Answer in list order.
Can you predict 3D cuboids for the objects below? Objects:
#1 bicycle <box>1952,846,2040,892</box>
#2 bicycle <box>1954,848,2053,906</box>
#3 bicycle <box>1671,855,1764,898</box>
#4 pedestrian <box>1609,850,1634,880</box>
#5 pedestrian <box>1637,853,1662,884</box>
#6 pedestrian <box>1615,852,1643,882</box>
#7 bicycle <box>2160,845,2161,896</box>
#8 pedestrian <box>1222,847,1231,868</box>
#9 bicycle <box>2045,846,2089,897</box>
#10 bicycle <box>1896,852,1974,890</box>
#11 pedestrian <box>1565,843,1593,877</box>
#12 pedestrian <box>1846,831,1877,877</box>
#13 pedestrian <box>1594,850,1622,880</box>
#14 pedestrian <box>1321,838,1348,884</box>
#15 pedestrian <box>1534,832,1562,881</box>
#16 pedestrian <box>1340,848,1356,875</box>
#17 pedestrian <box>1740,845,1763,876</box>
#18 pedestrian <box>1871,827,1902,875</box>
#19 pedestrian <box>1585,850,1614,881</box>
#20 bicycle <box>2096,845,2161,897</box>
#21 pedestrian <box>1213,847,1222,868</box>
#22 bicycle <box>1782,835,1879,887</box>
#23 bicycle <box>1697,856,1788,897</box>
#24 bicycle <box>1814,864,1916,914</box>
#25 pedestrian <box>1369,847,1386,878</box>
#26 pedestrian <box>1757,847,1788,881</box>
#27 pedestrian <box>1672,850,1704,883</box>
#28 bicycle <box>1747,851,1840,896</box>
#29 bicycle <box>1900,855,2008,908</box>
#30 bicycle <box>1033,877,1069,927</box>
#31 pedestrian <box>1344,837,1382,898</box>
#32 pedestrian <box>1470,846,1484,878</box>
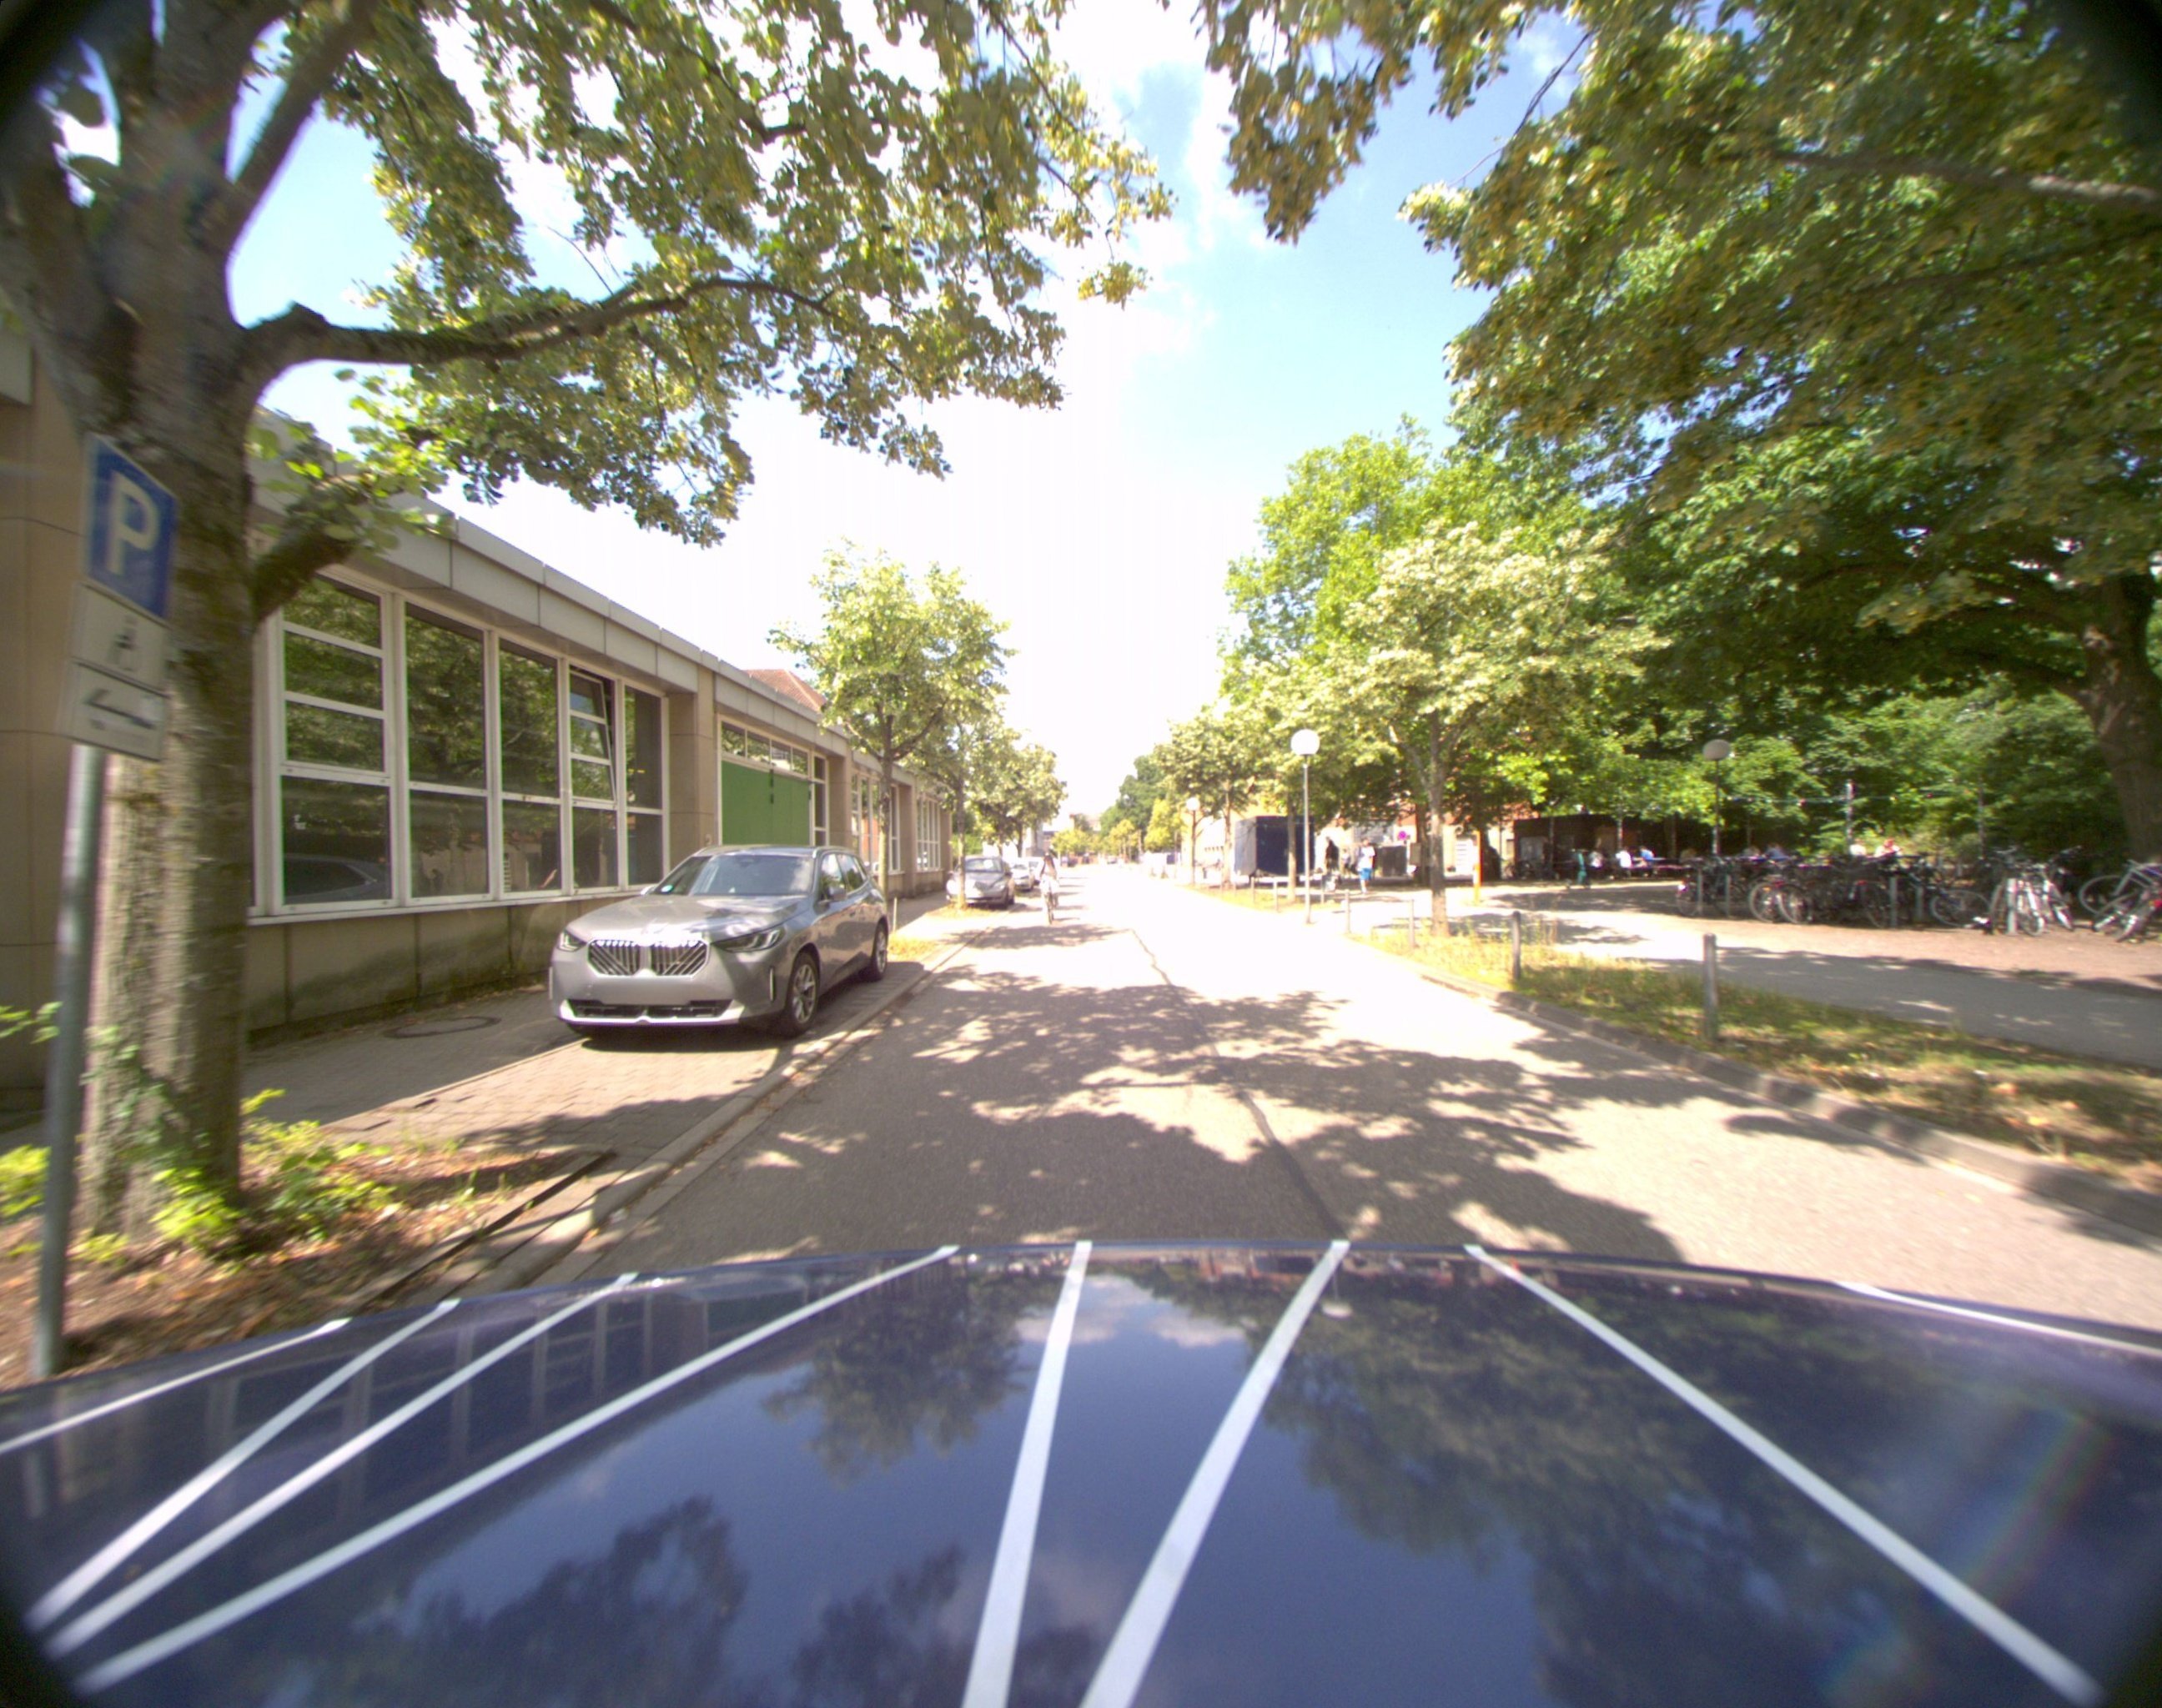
[{"bbox_3d":[23.199,0.355,19.262,1.959,1.085,0.596,-2,2,-13],"label":"bicycle"},{"bbox_3d":[18.446,0.443,15.188,1.969,1.083,0.537,-2,0,-17],"label":"bicycle"},{"bbox_3d":[15.955,0.551,19.073,1.807,1.008,0.537,-2,0,3],"label":"bicycle"},{"bbox_3d":[23.294,0.484,32.750,0.561,1.264,0.693,-2,0,1],"label":"pedestrian"},{"bbox_3d":[24.479,0.607,32.717,0.646,1.315,0.559,-1,0,2],"label":"pedestrian"},{"bbox_3d":[24.317,0.573,33.719,0.689,1.315,0.778,-1,0,2],"label":"pedestrian"},{"bbox_3d":[24.327,0.331,16.498,1.960,1.085,0.596,-2,2,-22],"label":"bicycle"},{"bbox_3d":[12.403,0.316,64.903,0.577,1.769,0.917,-1,1,0],"label":"pedestrian"},{"bbox_3d":[23.140,0.388,17.843,1.962,1.085,0.595,-2,2,-38],"label":"bicycle"},{"bbox_3d":[22.915,0.445,20.397,1.885,0.937,0.546,-2,2,-13],"label":"bicycle"},{"bbox_3d":[20.840,0.253,31.813,0.596,1.361,0.741,-2,-1,-34],"label":"pedestrian"},{"bbox_3d":[24.730,0.004,24.087,0.507,1.414,0.460,-2,0,-9],"label":"pedestrian"},{"bbox_3d":[21.521,0.451,31.036,0.596,1.226,0.741,-1,-1,-34],"label":"pedestrian"},{"bbox_3d":[11.109,0.291,33.307,0.919,1.943,0.892,-3,1,10],"label":"pedestrian"},{"bbox_3d":[17.988,0.097,29.266,0.531,1.837,0.806,-2,0,1],"label":"pedestrian"},{"bbox_3d":[15.113,0.438,43.014,0.744,1.500,0.499,-2,1,1],"label":"pedestrian"},{"bbox_3d":[24.715,0.225,28.001,0.336,1.133,0.506,-2,0,-10],"label":"pedestrian"},{"bbox_3d":[25.672,-0.103,24.225,0.507,1.513,0.473,-2,0,-10],"label":"pedestrian"},{"bbox_3d":[20.957,0.466,30.727,0.596,1.226,0.741,-1,-1,-34],"label":"pedestrian"},{"bbox_3d":[23.824,0.360,17.156,1.960,1.085,0.596,-2,2,-22],"label":"bicycle"},{"bbox_3d":[11.670,0.317,64.852,0.564,1.752,0.805,-1,1,0],"label":"pedestrian"},{"bbox_3d":[17.223,0.145,17.459,1.967,1.119,0.537,-2,0,-10],"label":"bicycle"},{"bbox_3d":[17.060,0.569,19.620,1.807,1.008,0.537,-2,0,3],"label":"bicycle"},{"bbox_3d":[17.320,0.762,16.787,1.967,1.021,0.537,-2,0,-10],"label":"bicycle"},{"bbox_3d":[15.722,0.452,40.305,0.632,1.656,0.643,-2,1,1],"label":"pedestrian"},{"bbox_3d":[24.911,0.357,27.372,0.392,1.187,0.730,-2,0,-9],"label":"pedestrian"},{"bbox_3d":[23.681,0.476,29.632,0.570,1.243,0.766,-2,0,-11],"label":"pedestrian"},{"bbox_3d":[17.111,0.452,18.252,1.967,0.997,0.537,-2,0,-10],"label":"bicycle"},{"bbox_3d":[18.228,0.564,15.876,1.967,1.021,0.537,-2,0,-10],"label":"bicycle"},{"bbox_3d":[-0.688,1.119,18.223,0.675,1.066,2.136,-1,0,2],"label":"bicycle"},{"bbox_3d":[8.747,0.420,23.613,0.801,1.820,0.987,-2,0,1],"label":"pedestrian"},{"bbox_3d":[20.749,0.420,39.816,0.531,1.700,0.447,-2,0,-44],"label":"pedestrian"}]
